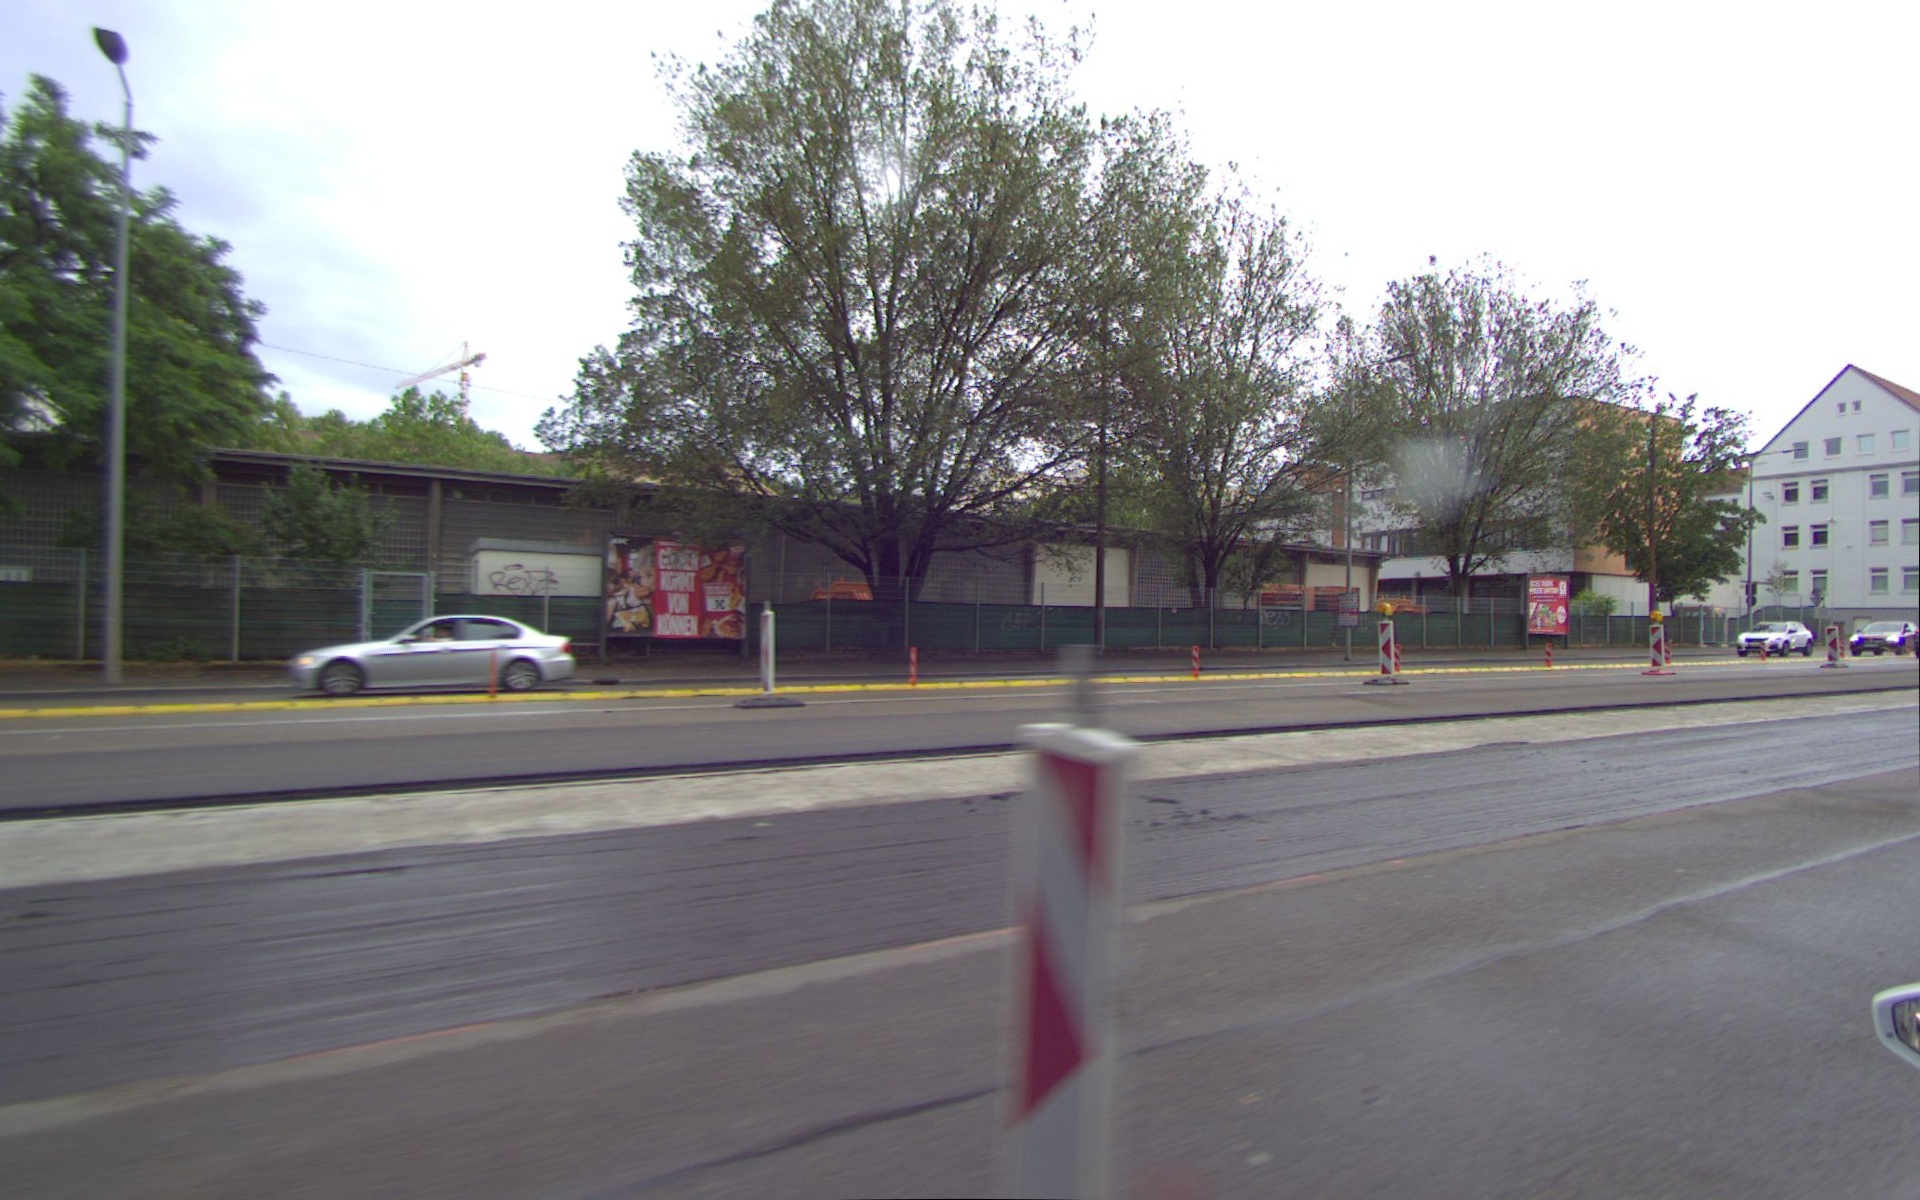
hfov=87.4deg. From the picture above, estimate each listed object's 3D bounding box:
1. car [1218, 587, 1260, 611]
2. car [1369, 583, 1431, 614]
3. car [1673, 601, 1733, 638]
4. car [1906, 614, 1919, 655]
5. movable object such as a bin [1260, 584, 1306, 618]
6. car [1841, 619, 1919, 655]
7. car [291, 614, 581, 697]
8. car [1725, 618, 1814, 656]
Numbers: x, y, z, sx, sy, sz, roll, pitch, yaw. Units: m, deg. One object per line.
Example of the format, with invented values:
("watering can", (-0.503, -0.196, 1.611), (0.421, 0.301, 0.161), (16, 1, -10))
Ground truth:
("car", (13.419, -0.044, 48.422), (1.718, 1.076, 4.026), (0, -1, 12))
("car", (23.278, -0.057, 53.284), (1.959, 1.548, 4.026), (0, -1, 8))
("car", (45.043, 1.175, 60.900), (3.955, 2.199, 1.601), (1, -1, -32))
("car", (41.940, 1.462, 42.316), (4.344, 1.672, 1.884), (1, -1, -30))
("movable object such as a bin", (15.370, 0.083, 47.944), (1.718, 1.548, 4.026), (0, -1, 12))
("car", (43.587, 1.750, 47.344), (4.314, 1.640, 1.850), (1, -3, -31))
("car", (-9.233, 0.972, 17.954), (4.402, 1.332, 1.659), (1, -3, -30))
("car", (38.238, 1.754, 47.455), (4.314, 1.728, 1.850), (1, -3, -31))
